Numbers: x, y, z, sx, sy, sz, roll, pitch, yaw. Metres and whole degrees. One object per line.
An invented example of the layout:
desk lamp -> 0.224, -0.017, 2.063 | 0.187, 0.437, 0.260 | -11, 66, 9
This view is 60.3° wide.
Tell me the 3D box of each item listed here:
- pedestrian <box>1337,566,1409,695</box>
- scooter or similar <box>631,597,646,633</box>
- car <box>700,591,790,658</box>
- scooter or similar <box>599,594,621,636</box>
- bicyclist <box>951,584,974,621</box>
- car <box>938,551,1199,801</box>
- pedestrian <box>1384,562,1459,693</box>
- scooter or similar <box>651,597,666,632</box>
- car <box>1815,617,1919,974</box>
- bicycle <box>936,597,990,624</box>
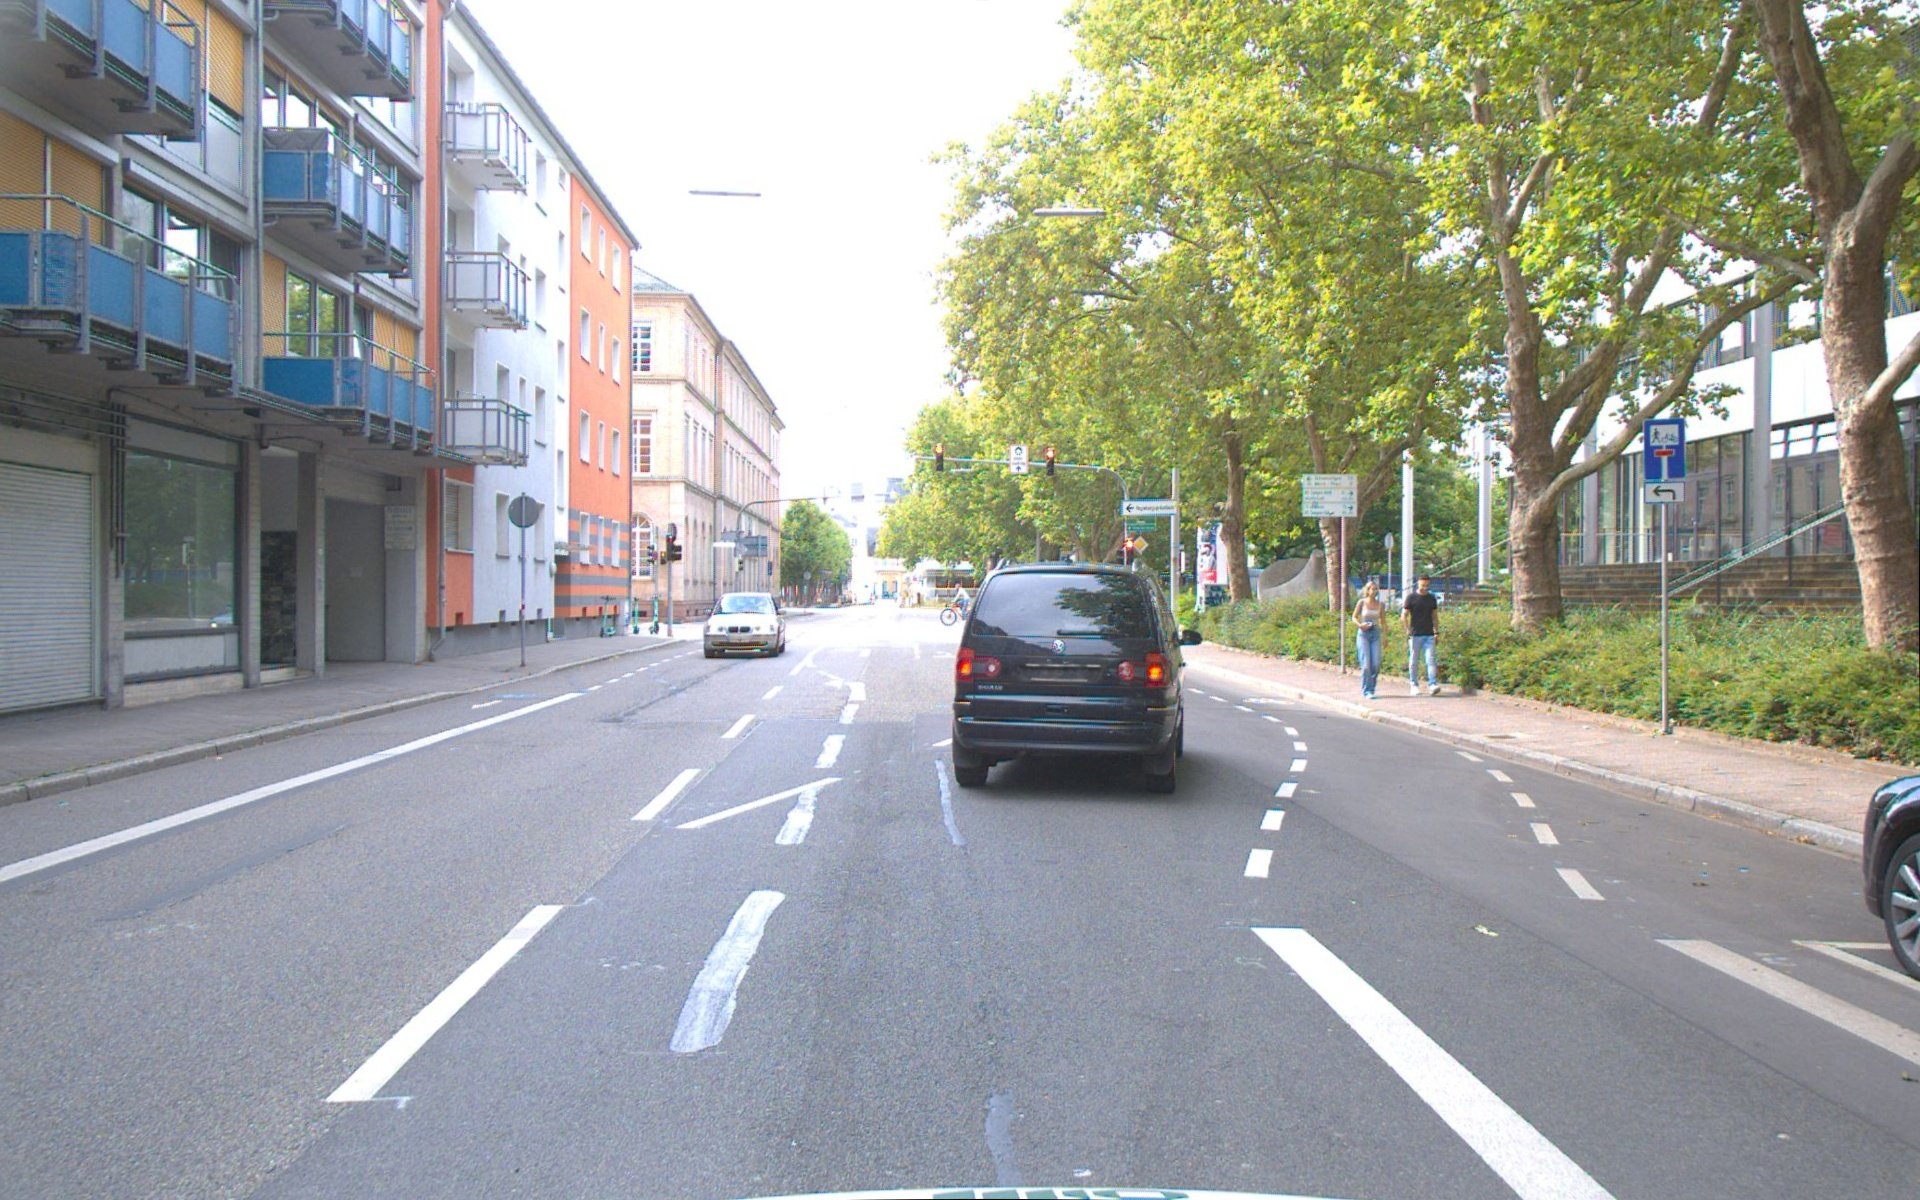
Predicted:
pedestrian -> 5.977, 0.435, 23.968 | 0.696, 1.814, 1.033 | -2, 0, -3
scooter or similar -> -10.530, 0.482, 54.225 | 0.370, 1.167, 1.140 | 0, -1, -5
car -> -4.976, 0.530, 38.693 | 1.722, 1.452, 4.096 | -1, 0, -3
scooter or similar -> -10.163, 0.446, 48.020 | 0.370, 1.204, 1.389 | 0, -1, -2
bicyclist -> 0.112, 0.102, 68.958 | 0.897, 1.519, 0.625 | 0, 0, -6
car -> 1.097, 0.524, 14.196 | 1.834, 1.775, 4.577 | 1, 0, 9
pedestrian -> 6.689, 0.393, 24.010 | 0.700, 1.831, 1.033 | -2, 0, -3
scooter or similar -> -9.970, 0.492, 54.755 | 0.370, 1.164, 1.140 | 0, -1, -5
car -> 4.889, 0.842, 5.368 | 1.664, 1.450, 4.418 | 2, 0, -4
bicycle -> 0.124, 0.456, 68.969 | 2.191, 1.113, 0.626 | 0, 0, -7
